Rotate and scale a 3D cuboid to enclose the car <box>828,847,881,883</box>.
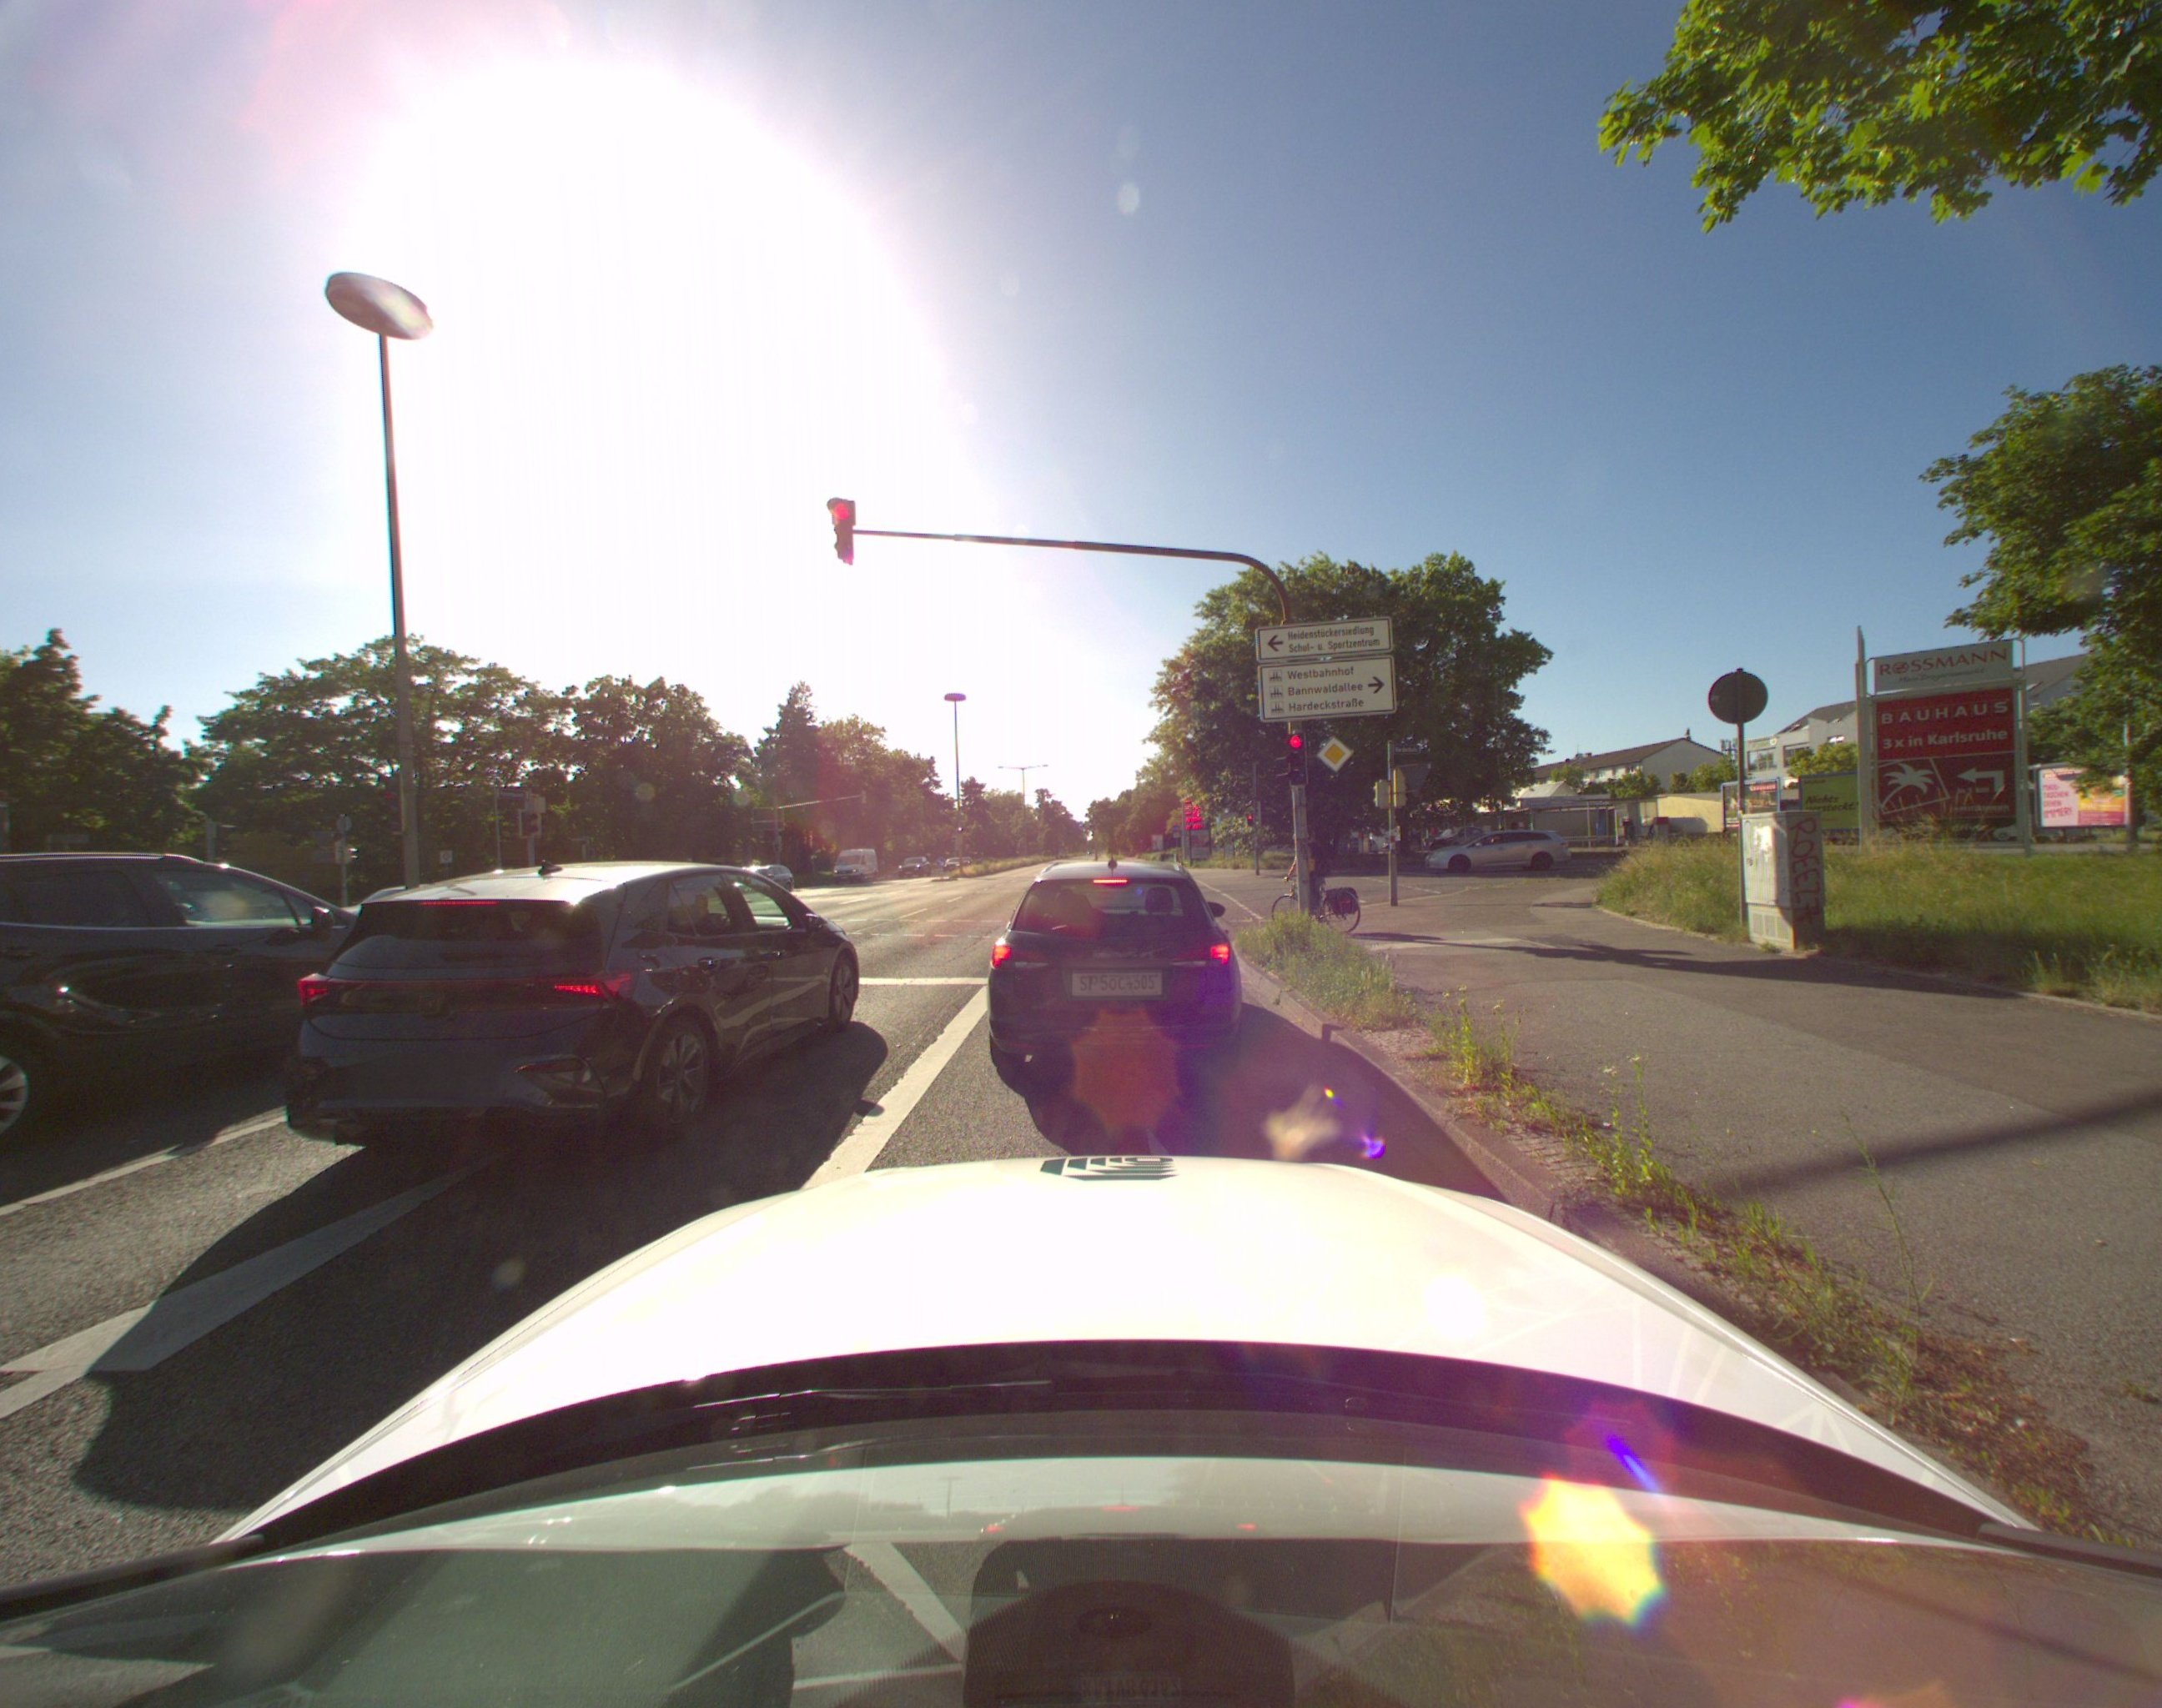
[{"bbox_3d":[-17.131,0.806,61.906,2.092,2.492,6.006,-3,0,2],"label":"car"}]

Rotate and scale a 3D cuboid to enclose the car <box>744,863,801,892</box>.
[{"bbox_3d":[-18.230,1.356,48.321,1.680,1.509,4.005,-3,0,2],"label":"car"}]

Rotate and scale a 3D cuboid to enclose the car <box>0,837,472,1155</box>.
[{"bbox_3d":[-6.620,0.789,5.527,1.798,1.689,4.002,-3,0,2],"label":"car"}]

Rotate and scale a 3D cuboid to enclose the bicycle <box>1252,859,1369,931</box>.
[{"bbox_3d":[3.732,0.688,13.380,0.541,1.097,1.755,-3,-2,-42],"label":"bicycle"}]

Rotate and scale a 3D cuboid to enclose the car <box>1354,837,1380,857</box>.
[{"bbox_3d":[25.891,-0.647,73.906,1.728,1.680,4.014,-3,0,13],"label":"car"}]

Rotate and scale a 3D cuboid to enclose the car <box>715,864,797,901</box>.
[{"bbox_3d":[-14.610,1.252,36.939,1.680,1.433,4.617,-3,0,2],"label":"car"}]

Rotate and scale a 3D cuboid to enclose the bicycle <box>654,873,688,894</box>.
[{"bbox_3d":[-25.900,1.832,51.513,0.873,1.212,2.535,-3,0,-2],"label":"bicycle"}]

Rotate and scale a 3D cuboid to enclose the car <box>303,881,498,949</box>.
[{"bbox_3d":[-18.357,1.580,22.270,1.635,1.456,4.223,-3,0,2],"label":"car"}]

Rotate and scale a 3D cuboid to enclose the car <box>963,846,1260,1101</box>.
[{"bbox_3d":[0.249,0.726,6.972,1.750,1.495,4.208,-1,0,2],"label":"car"}]

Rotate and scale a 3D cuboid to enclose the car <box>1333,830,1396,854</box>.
[{"bbox_3d":[19.666,-0.825,56.440,3.903,1.517,1.733,-3,0,-21],"label":"car"}]

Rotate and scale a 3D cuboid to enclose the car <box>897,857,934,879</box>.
[{"bbox_3d":[-13.710,1.119,67.760,1.986,1.601,4.617,-3,0,2],"label":"car"}]

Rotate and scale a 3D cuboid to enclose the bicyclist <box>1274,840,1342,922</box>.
[{"bbox_3d":[3.719,0.446,13.383,0.541,1.277,0.819,-3,-2,-42],"label":"bicyclist"}]

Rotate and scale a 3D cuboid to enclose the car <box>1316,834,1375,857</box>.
[{"bbox_3d":[19.331,-0.618,59.532,3.903,1.517,1.733,-3,0,-21],"label":"car"}]

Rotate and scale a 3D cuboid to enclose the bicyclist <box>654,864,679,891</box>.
[{"bbox_3d":[-26.047,1.455,51.228,0.873,1.648,1.199,-3,0,-2],"label":"bicyclist"}]

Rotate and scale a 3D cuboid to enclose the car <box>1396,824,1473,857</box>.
[{"bbox_3d":[21.445,-0.815,49.397,4.003,1.749,1.985,-3,0,-22],"label":"car"}]

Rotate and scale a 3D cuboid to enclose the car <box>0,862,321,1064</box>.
[{"bbox_3d":[-10.223,0.989,7.930,1.824,1.702,3.999,-3,0,0],"label":"car"}]

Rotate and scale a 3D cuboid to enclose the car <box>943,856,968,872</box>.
[{"bbox_3d":[-13.270,1.034,86.334,1.769,1.463,4.166,-3,0,2],"label":"car"}]

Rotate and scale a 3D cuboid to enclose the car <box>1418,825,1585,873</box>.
[{"bbox_3d":[14.965,-0.168,29.300,4.969,1.486,2.007,-2,0,13],"label":"car"}]

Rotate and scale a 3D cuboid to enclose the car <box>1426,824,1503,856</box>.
[{"bbox_3d":[22.380,-0.817,47.532,4.002,1.680,1.733,-3,0,-21],"label":"car"}]

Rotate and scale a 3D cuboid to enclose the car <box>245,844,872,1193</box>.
[{"bbox_3d":[-2.959,0.773,5.864,1.678,1.580,4.208,-1,0,2],"label":"car"}]
